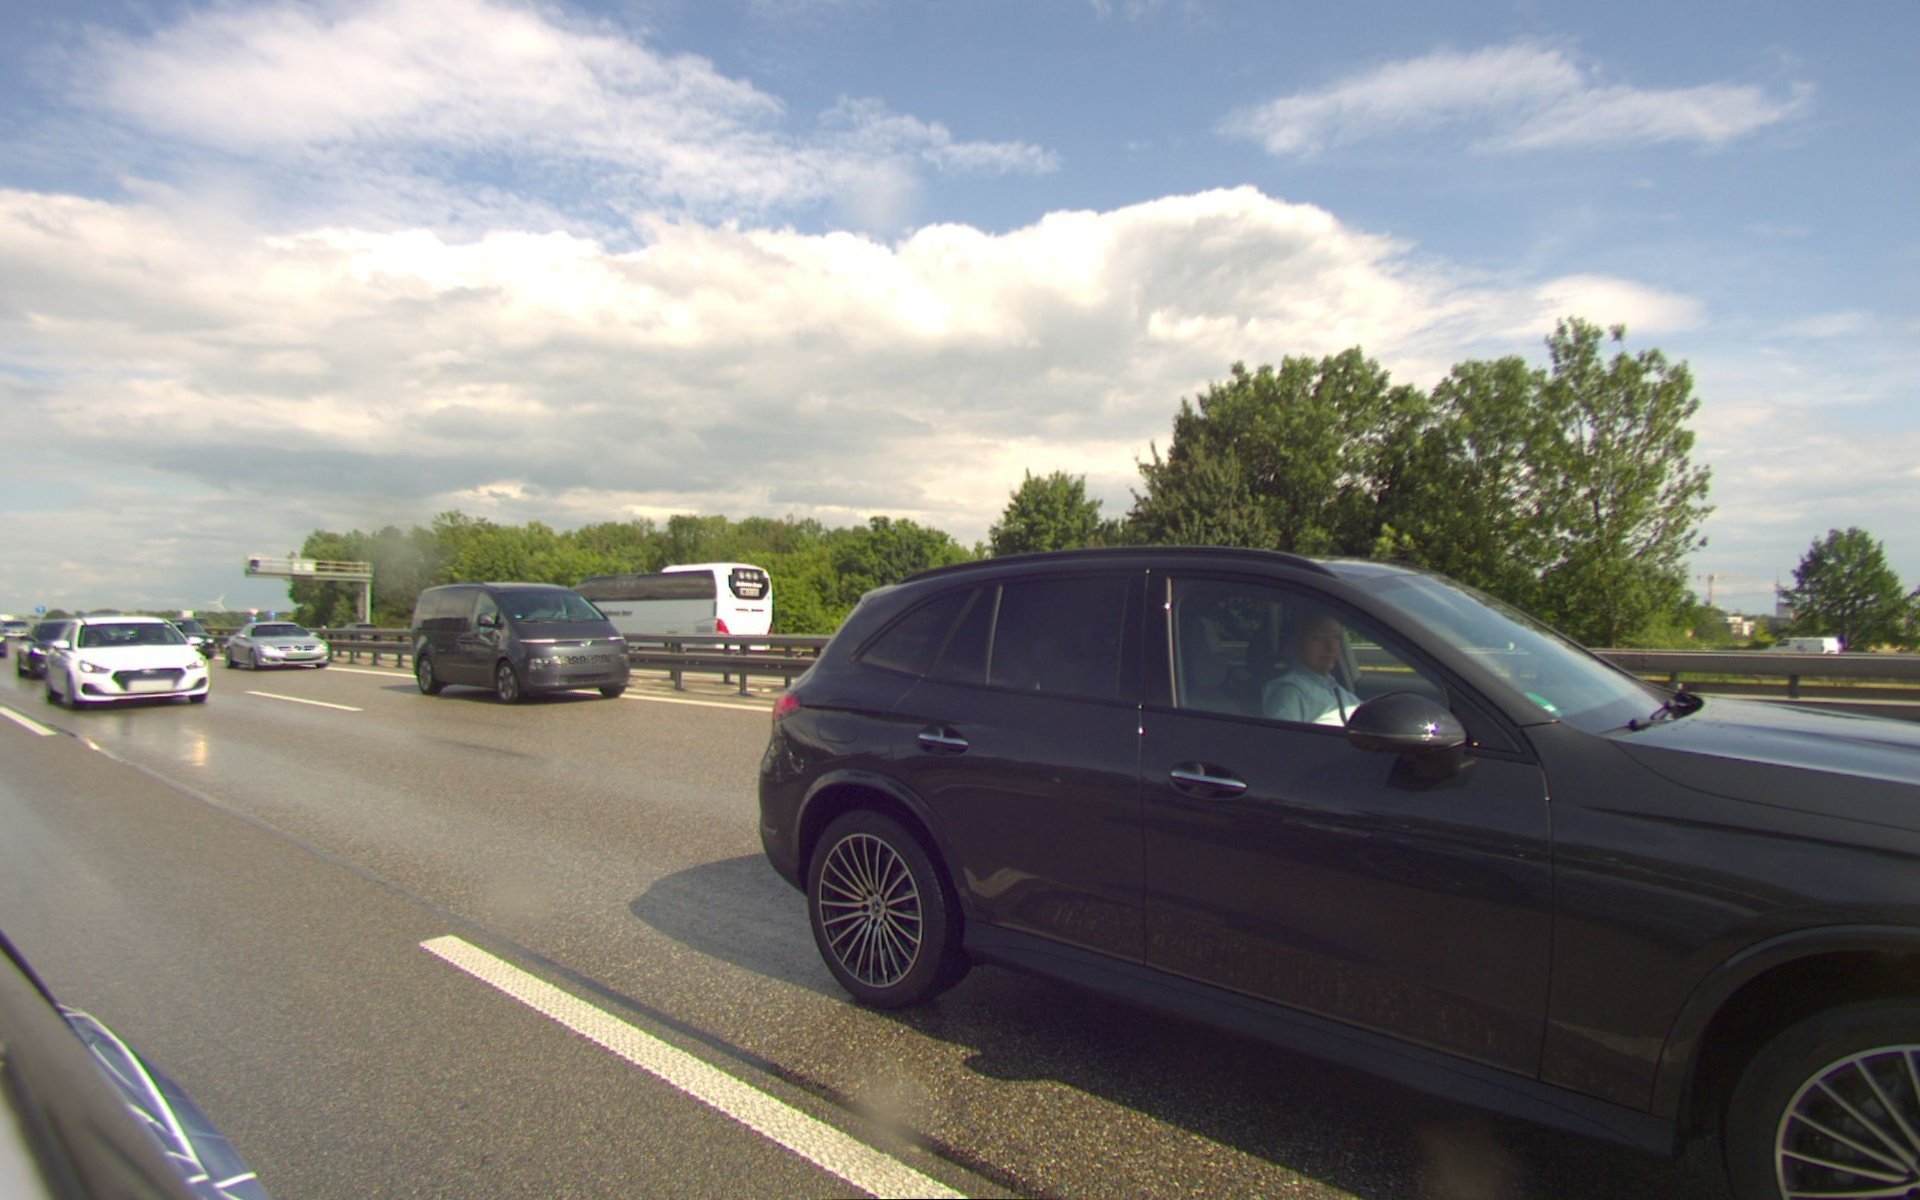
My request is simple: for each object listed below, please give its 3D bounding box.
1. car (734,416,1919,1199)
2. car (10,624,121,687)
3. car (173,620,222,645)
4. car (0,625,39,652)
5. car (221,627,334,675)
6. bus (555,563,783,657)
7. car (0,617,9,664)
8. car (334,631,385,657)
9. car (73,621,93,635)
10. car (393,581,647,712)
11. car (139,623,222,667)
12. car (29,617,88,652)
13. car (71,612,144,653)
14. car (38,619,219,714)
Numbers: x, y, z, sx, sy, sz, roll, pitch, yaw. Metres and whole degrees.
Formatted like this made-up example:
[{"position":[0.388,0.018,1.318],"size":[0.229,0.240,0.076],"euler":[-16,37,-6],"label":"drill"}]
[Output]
[{"position":[1.413,0.538,3.323],"size":[4.624,1.692,1.857],"euler":[-1,-1,41],"label":"car"},{"position":[-22.115,1.314,24.969],"size":[3.998,1.409,1.577],"euler":[-1,-1,41],"label":"car"},{"position":[-50.085,2.143,66.432],"size":[3.998,1.556,1.781],"euler":[-1,-1,41],"label":"car"},{"position":[-64.980,2.599,69.648],"size":[3.997,1.763,1.876],"euler":[-1,-1,41],"label":"car"},{"position":[-18.667,1.345,27.626],"size":[3.583,1.198,1.832],"euler":[-1,-1,43],"label":"car"},{"position":[-12.399,0.464,41.900],"size":[12.465,3.399,2.861],"euler":[-1,-1,42],"label":"bus"},{"position":[-37.159,1.509,37.887],"size":[3.997,1.730,1.865],"euler":[-1,-1,41],"label":"car"},{"position":[-38.444,2.800,64.785],"size":[3.999,1.604,1.714],"euler":[-1,-1,42],"label":"car"},{"position":[-130.334,4.156,150.334],"size":[4.365,2.029,1.971],"euler":[-1,-1,45],"label":"car"},{"position":[-7.680,0.729,17.375],"size":[5.234,1.932,1.973],"euler":[-1,-1,41],"label":"car"},{"position":[-27.121,1.518,35.176],"size":[3.999,1.431,1.597],"euler":[-1,-1,42],"label":"car"},{"position":[-48.122,1.802,53.995],"size":[3.997,1.763,1.876],"euler":[-1,-1,41],"label":"car"},{"position":[-38.288,1.440,45.428],"size":[3.997,1.763,1.876],"euler":[-1,-1,41],"label":"car"},{"position":[-14.050,1.028,17.019],"size":[4.239,1.408,1.785],"euler":[-1,-2,43],"label":"car"}]
